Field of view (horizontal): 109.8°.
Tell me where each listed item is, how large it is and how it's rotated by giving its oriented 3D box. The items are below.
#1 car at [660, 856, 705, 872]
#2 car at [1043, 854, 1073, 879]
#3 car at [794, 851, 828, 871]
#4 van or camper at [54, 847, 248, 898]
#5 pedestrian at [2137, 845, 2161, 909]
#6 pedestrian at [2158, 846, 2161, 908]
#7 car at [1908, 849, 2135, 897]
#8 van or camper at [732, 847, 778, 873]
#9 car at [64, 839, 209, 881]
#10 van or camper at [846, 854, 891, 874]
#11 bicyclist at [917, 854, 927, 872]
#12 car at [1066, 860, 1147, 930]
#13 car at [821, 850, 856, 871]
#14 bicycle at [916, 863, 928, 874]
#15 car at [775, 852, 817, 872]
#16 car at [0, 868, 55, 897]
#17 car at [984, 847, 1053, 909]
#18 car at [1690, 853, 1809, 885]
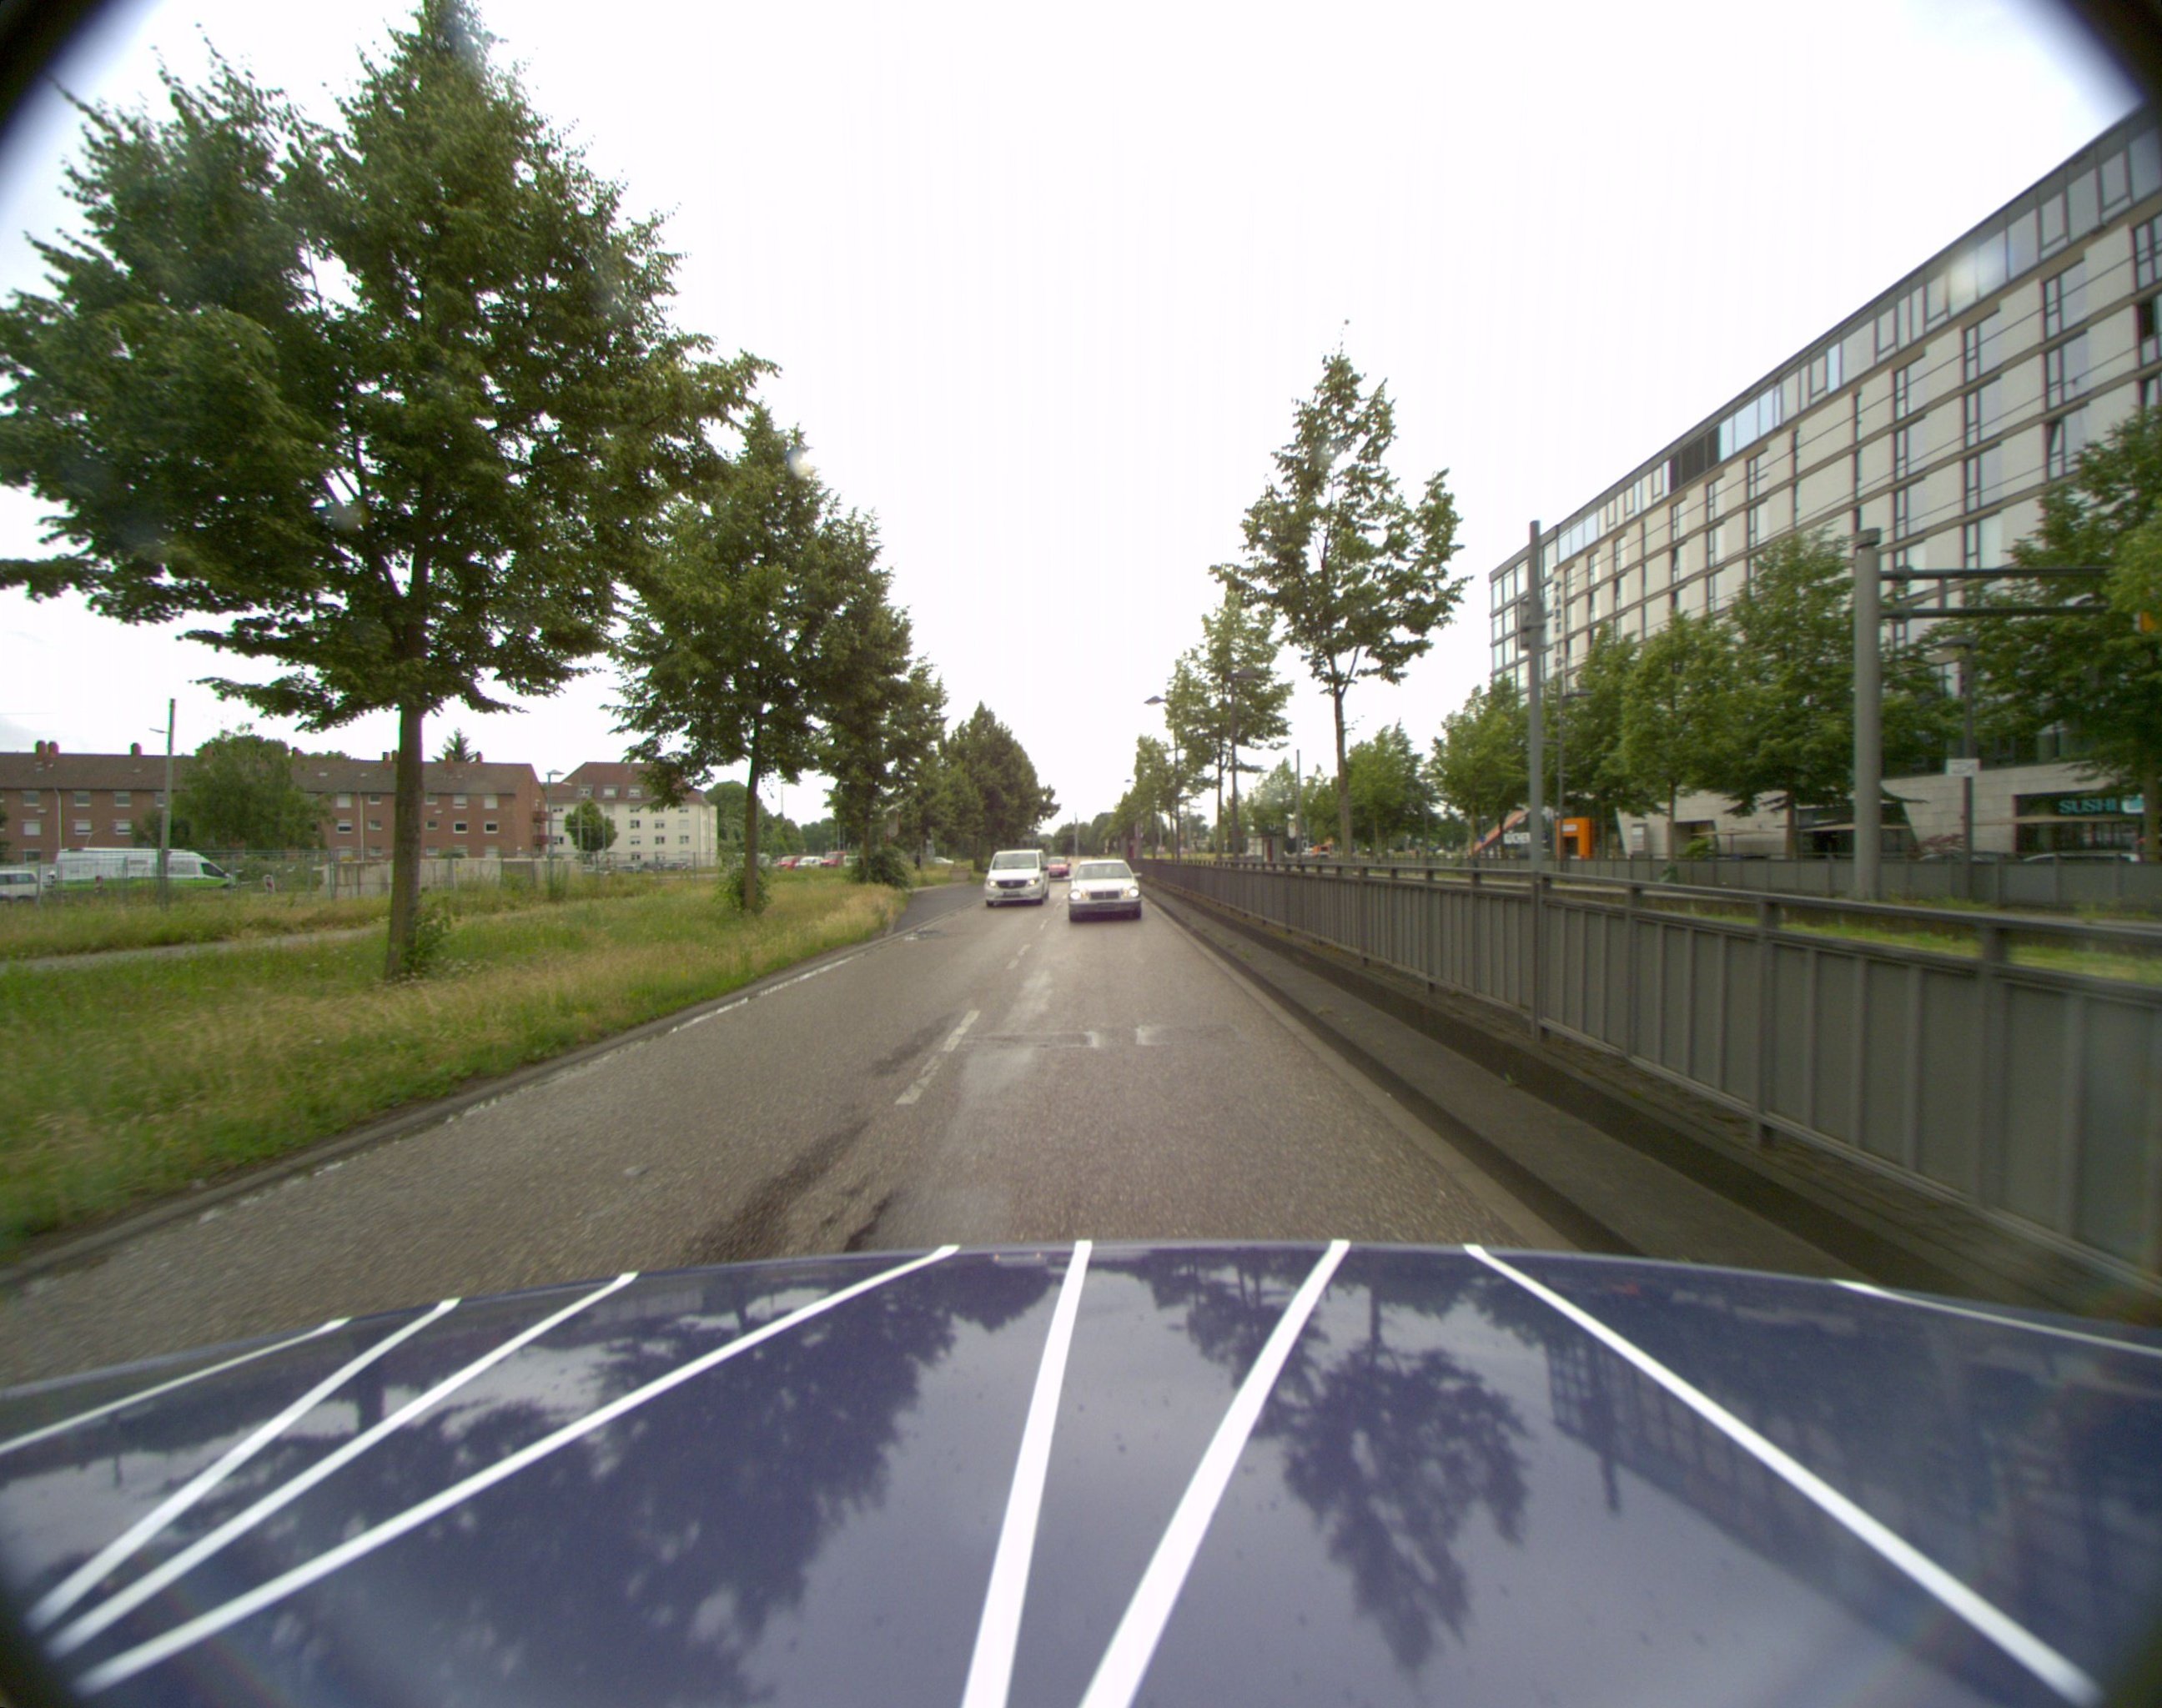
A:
[{"bbox_3d":[-44.336,1.140,84.585,1.995,1.543,4.007,-3,0,28],"label":"car"},{"bbox_3d":[-1.538,0.808,52.319,1.799,1.603,4.246,-1,0,2],"label":"car"},{"bbox_3d":[-31.833,0.780,89.683,1.997,2.297,4.003,-2,0,10],"label":"car"},{"bbox_3d":[-46.481,0.868,38.306,2.208,2.294,6.148,-2,0,-1],"label":"van or camper"},{"bbox_3d":[28.997,0.597,20.197,0.712,1.681,0.793,-1,0,4],"label":"pedestrian"},{"bbox_3d":[29.783,0.618,20.347,0.712,1.681,0.793,-1,0,4],"label":"pedestrian"},{"bbox_3d":[28.421,0.513,23.222,1.998,1.281,4.070,-1,1,3],"label":"car"},{"bbox_3d":[-40.886,0.689,95.447,2.343,3.017,5.515,-3,0,12],"label":"van or camper"},{"bbox_3d":[-53.181,0.327,42.986,2.278,2.207,4.758,-2,0,-3],"label":"car"},{"bbox_3d":[-22.968,1.105,82.190,4.334,2.002,1.860,-2,0,-5],"label":"van or camper"},{"bbox_3d":[-13.520,0.739,64.659,0.537,1.497,0.841,-1,1,4],"label":"bicyclist"},{"bbox_3d":[0.628,0.923,18.960,1.738,1.451,4.608,-2,0,2],"label":"car"},{"bbox_3d":[-28.363,0.727,89.017,1.996,2.297,4.004,-2,0,14],"label":"car"},{"bbox_3d":[-13.508,1.209,64.718,0.548,0.873,1.745,-1,0,4],"label":"bicycle"},{"bbox_3d":[-34.221,0.964,91.512,2.195,2.297,5.450,-2,0,10],"label":"car"},{"bbox_3d":[-52.807,1.427,35.952,2.096,1.344,4.758,-2,0,-3],"label":"car"},{"bbox_3d":[-2.107,0.763,27.038,1.972,1.968,5.091,-1,1,1],"label":"car"},{"bbox_3d":[29.772,0.630,34.007,1.998,1.281,3.859,-1,1,1],"label":"car"}]
